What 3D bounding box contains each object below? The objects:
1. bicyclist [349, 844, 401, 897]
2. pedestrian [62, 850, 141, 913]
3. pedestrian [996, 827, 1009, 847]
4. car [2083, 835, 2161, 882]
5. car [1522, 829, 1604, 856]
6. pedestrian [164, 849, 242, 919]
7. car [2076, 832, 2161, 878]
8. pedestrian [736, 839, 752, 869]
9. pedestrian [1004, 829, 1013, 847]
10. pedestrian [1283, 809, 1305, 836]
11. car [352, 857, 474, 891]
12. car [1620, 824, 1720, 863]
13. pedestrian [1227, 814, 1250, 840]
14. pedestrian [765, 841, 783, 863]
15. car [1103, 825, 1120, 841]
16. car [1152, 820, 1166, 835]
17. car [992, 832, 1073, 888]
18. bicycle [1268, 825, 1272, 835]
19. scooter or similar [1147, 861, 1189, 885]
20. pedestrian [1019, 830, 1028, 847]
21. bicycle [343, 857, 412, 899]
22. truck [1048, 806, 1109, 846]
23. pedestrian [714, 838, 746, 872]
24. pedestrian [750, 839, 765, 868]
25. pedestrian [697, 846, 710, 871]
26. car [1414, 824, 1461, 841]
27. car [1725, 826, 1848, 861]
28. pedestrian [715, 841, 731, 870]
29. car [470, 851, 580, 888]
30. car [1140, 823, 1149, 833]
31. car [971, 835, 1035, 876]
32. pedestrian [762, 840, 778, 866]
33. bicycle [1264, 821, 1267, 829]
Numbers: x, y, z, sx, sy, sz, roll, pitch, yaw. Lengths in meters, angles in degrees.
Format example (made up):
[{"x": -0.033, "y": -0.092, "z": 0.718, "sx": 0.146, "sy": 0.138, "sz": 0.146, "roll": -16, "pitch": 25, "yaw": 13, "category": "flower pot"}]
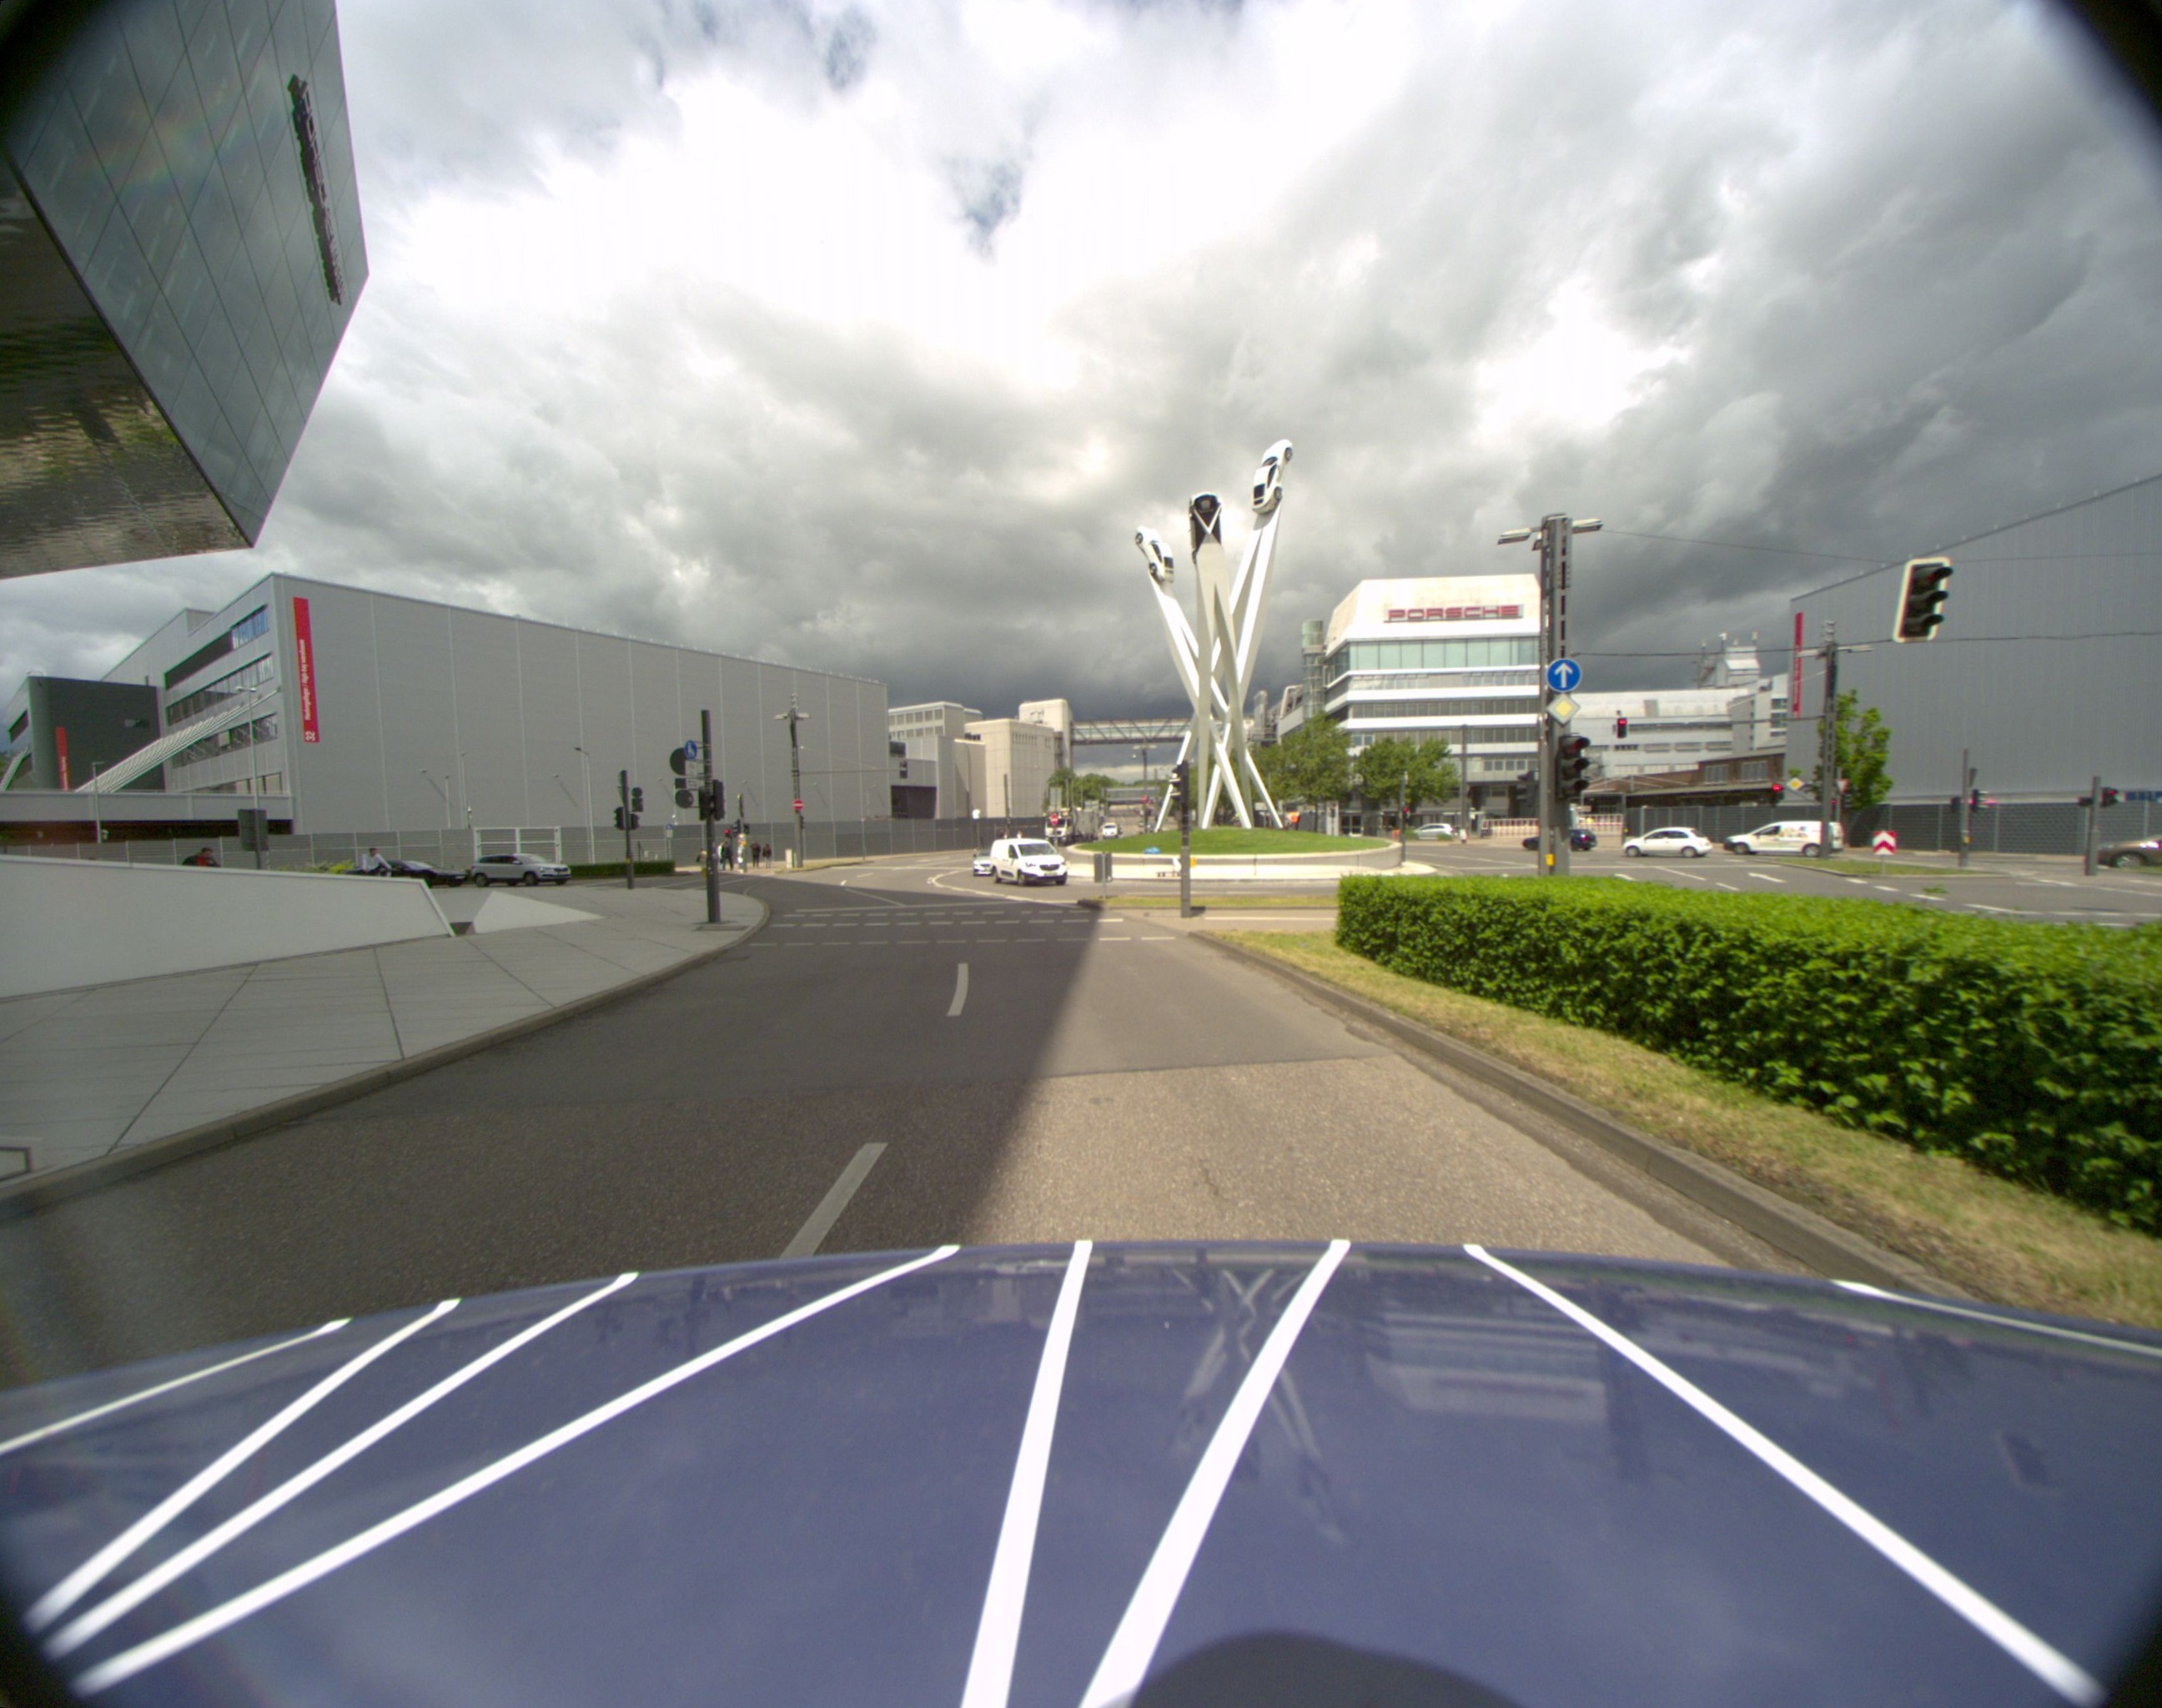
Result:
[{"x": -23.125, "y": 0.527, "z": 24.909, "sx": 0.935, "sy": 1.645, "sz": 0.773, "roll": -1, "pitch": 4, "yaw": 20, "category": "bicyclist"}, {"x": -27.936, "y": 0.770, "z": 21.693, "sx": 0.830, "sy": 1.667, "sz": 0.922, "roll": -3, "pitch": 4, "yaw": -5, "category": "pedestrian"}, {"x": -7.387, "y": -1.577, "z": 71.481, "sx": 0.794, "sy": 1.856, "sz": 0.659, "roll": -7, "pitch": 6, "yaw": -43, "category": "pedestrian"}, {"x": 39.612, "y": 0.154, "z": 27.250, "sx": 1.828, "sy": 1.548, "sz": 4.212, "roll": -6, "pitch": 5, "yaw": -43, "category": "car"}, {"x": 30.435, "y": -0.785, "z": 48.059, "sx": 1.805, "sy": 1.548, "sz": 3.947, "roll": -5, "pitch": 4, "yaw": -32, "category": "car"}, {"x": -24.094, "y": 0.806, "z": 20.878, "sx": 0.830, "sy": 1.816, "sz": 0.922, "roll": -3, "pitch": 4, "yaw": -5, "category": "pedestrian"}, {"x": 39.579, "y": 0.015, "z": 27.433, "sx": 1.815, "sy": 1.537, "sz": 4.224, "roll": -6, "pitch": 5, "yaw": -44, "category": "car"}, {"x": -21.105, "y": -0.029, "z": 47.575, "sx": 0.621, "sy": 1.837, "sz": 0.671, "roll": -6, "pitch": 5, "yaw": -41, "category": "pedestrian"}, {"x": -6.858, "y": -1.530, "z": 72.012, "sx": 0.464, "sy": 1.607, "sz": 0.664, "roll": 1, "pitch": 6, "yaw": 45, "category": "pedestrian"}, {"x": 11.832, "y": -1.757, "z": 42.183, "sx": 0.853, "sy": 1.400, "sz": 0.966, "roll": 7, "pitch": 8, "yaw": 25, "category": "pedestrian"}, {"x": -32.160, "y": 0.955, "z": 36.659, "sx": 4.155, "sy": 1.376, "sz": 1.838, "roll": -2, "pitch": 2, "yaw": 1, "category": "car"}, {"x": 30.458, "y": -0.574, "z": 39.372, "sx": 1.915, "sy": 1.787, "sz": 3.764, "roll": -6, "pitch": 5, "yaw": -38, "category": "car"}, {"x": 10.997, "y": -1.885, "z": 53.129, "sx": 1.286, "sy": 1.807, "sz": 0.985, "roll": 0, "pitch": 3, "yaw": -12, "category": "pedestrian"}, {"x": -23.039, "y": -0.138, "z": 56.962, "sx": 0.693, "sy": 1.578, "sz": 0.922, "roll": 0, "pitch": 5, "yaw": 36, "category": "pedestrian"}, {"x": 4.074, "y": -2.841, "z": 100.678, "sx": 1.998, "sy": 1.840, "sz": 3.999, "roll": -2, "pitch": 4, "yaw": 6, "category": "car"}, {"x": 11.785, "y": -4.043, "z": 115.048, "sx": 1.871, "sy": 1.945, "sz": 4.709, "roll": -3, "pitch": 4, "yaw": 5, "category": "car"}, {"x": -2.028, "y": 0.181, "z": 30.415, "sx": 1.828, "sy": 2.002, "sz": 4.381, "roll": -2, "pitch": 2, "yaw": -23, "category": "car"}, {"x": 23.457, "y": -2.985, "z": 94.146, "sx": 0.297, "sy": 1.125, "sz": 1.484, "roll": -2, "pitch": 4, "yaw": 7, "category": "bicycle"}, {"x": 3.294, "y": 0.714, "z": 28.700, "sx": 1.258, "sy": 0.843, "sz": 0.910, "roll": 0, "pitch": 3, "yaw": 36, "category": "scooter or similar"}, {"x": -5.654, "y": -1.571, "z": 74.742, "sx": 0.660, "sy": 1.600, "sz": 0.823, "roll": -2, "pitch": 4, "yaw": 15, "category": "pedestrian"}, {"x": -23.044, "y": 0.797, "z": 24.886, "sx": 1.922, "sy": 1.267, "sz": 0.781, "roll": -1, "pitch": 4, "yaw": 21, "category": "bicycle"}, {"x": -0.085, "y": -2.991, "z": 78.569, "sx": 2.709, "sy": 3.865, "sz": 10.751, "roll": 0, "pitch": 3, "yaw": 20, "category": "truck"}, {"x": -20.857, "y": 0.037, "z": 45.225, "sx": 0.954, "sy": 1.974, "sz": 1.383, "roll": -1, "pitch": 2, "yaw": 20, "category": "pedestrian"}, {"x": -20.489, "y": -0.055, "z": 48.134, "sx": 0.621, "sy": 1.785, "sz": 0.671, "roll": -6, "pitch": 5, "yaw": -39, "category": "pedestrian"}, {"x": -23.020, "y": 0.255, "z": 46.284, "sx": 0.584, "sy": 1.488, "sz": 0.769, "roll": -5, "pitch": 5, "yaw": -28, "category": "pedestrian"}, {"x": 33.277, "y": -1.975, "z": 70.985, "sx": 3.598, "sy": 1.474, "sz": 1.815, "roll": 0, "pitch": 5, "yaw": 41, "category": "car"}, {"x": 36.297, "y": -0.579, "z": 39.194, "sx": 2.003, "sy": 1.615, "sz": 4.279, "roll": -5, "pitch": 4, "yaw": -33, "category": "car"}, {"x": -22.187, "y": 0.078, "z": 47.064, "sx": 0.621, "sy": 1.750, "sz": 0.605, "roll": -6, "pitch": 5, "yaw": -40, "category": "pedestrian"}, {"x": -26.122, "y": 0.710, "z": 35.754, "sx": 3.994, "sy": 1.542, "sz": 1.838, "roll": 0, "pitch": 4, "yaw": 10, "category": "car"}, {"x": 14.971, "y": -6.122, "z": 179.601, "sx": 1.871, "sy": 1.945, "sz": 4.709, "roll": -3, "pitch": 4, "yaw": 5, "category": "car"}, {"x": -3.966, "y": 0.008, "z": 39.525, "sx": 1.870, "sy": 1.945, "sz": 4.714, "roll": 0, "pitch": 2, "yaw": 12, "category": "car"}, {"x": -19.950, "y": -0.045, "z": 48.761, "sx": 0.618, "sy": 1.629, "sz": 0.674, "roll": 1, "pitch": 5, "yaw": 41, "category": "pedestrian"}, {"x": 24.412, "y": -3.863, "z": 100.477, "sx": 0.297, "sy": 1.000, "sz": 1.252, "roll": -2, "pitch": 4, "yaw": 14, "category": "bicycle"}]
